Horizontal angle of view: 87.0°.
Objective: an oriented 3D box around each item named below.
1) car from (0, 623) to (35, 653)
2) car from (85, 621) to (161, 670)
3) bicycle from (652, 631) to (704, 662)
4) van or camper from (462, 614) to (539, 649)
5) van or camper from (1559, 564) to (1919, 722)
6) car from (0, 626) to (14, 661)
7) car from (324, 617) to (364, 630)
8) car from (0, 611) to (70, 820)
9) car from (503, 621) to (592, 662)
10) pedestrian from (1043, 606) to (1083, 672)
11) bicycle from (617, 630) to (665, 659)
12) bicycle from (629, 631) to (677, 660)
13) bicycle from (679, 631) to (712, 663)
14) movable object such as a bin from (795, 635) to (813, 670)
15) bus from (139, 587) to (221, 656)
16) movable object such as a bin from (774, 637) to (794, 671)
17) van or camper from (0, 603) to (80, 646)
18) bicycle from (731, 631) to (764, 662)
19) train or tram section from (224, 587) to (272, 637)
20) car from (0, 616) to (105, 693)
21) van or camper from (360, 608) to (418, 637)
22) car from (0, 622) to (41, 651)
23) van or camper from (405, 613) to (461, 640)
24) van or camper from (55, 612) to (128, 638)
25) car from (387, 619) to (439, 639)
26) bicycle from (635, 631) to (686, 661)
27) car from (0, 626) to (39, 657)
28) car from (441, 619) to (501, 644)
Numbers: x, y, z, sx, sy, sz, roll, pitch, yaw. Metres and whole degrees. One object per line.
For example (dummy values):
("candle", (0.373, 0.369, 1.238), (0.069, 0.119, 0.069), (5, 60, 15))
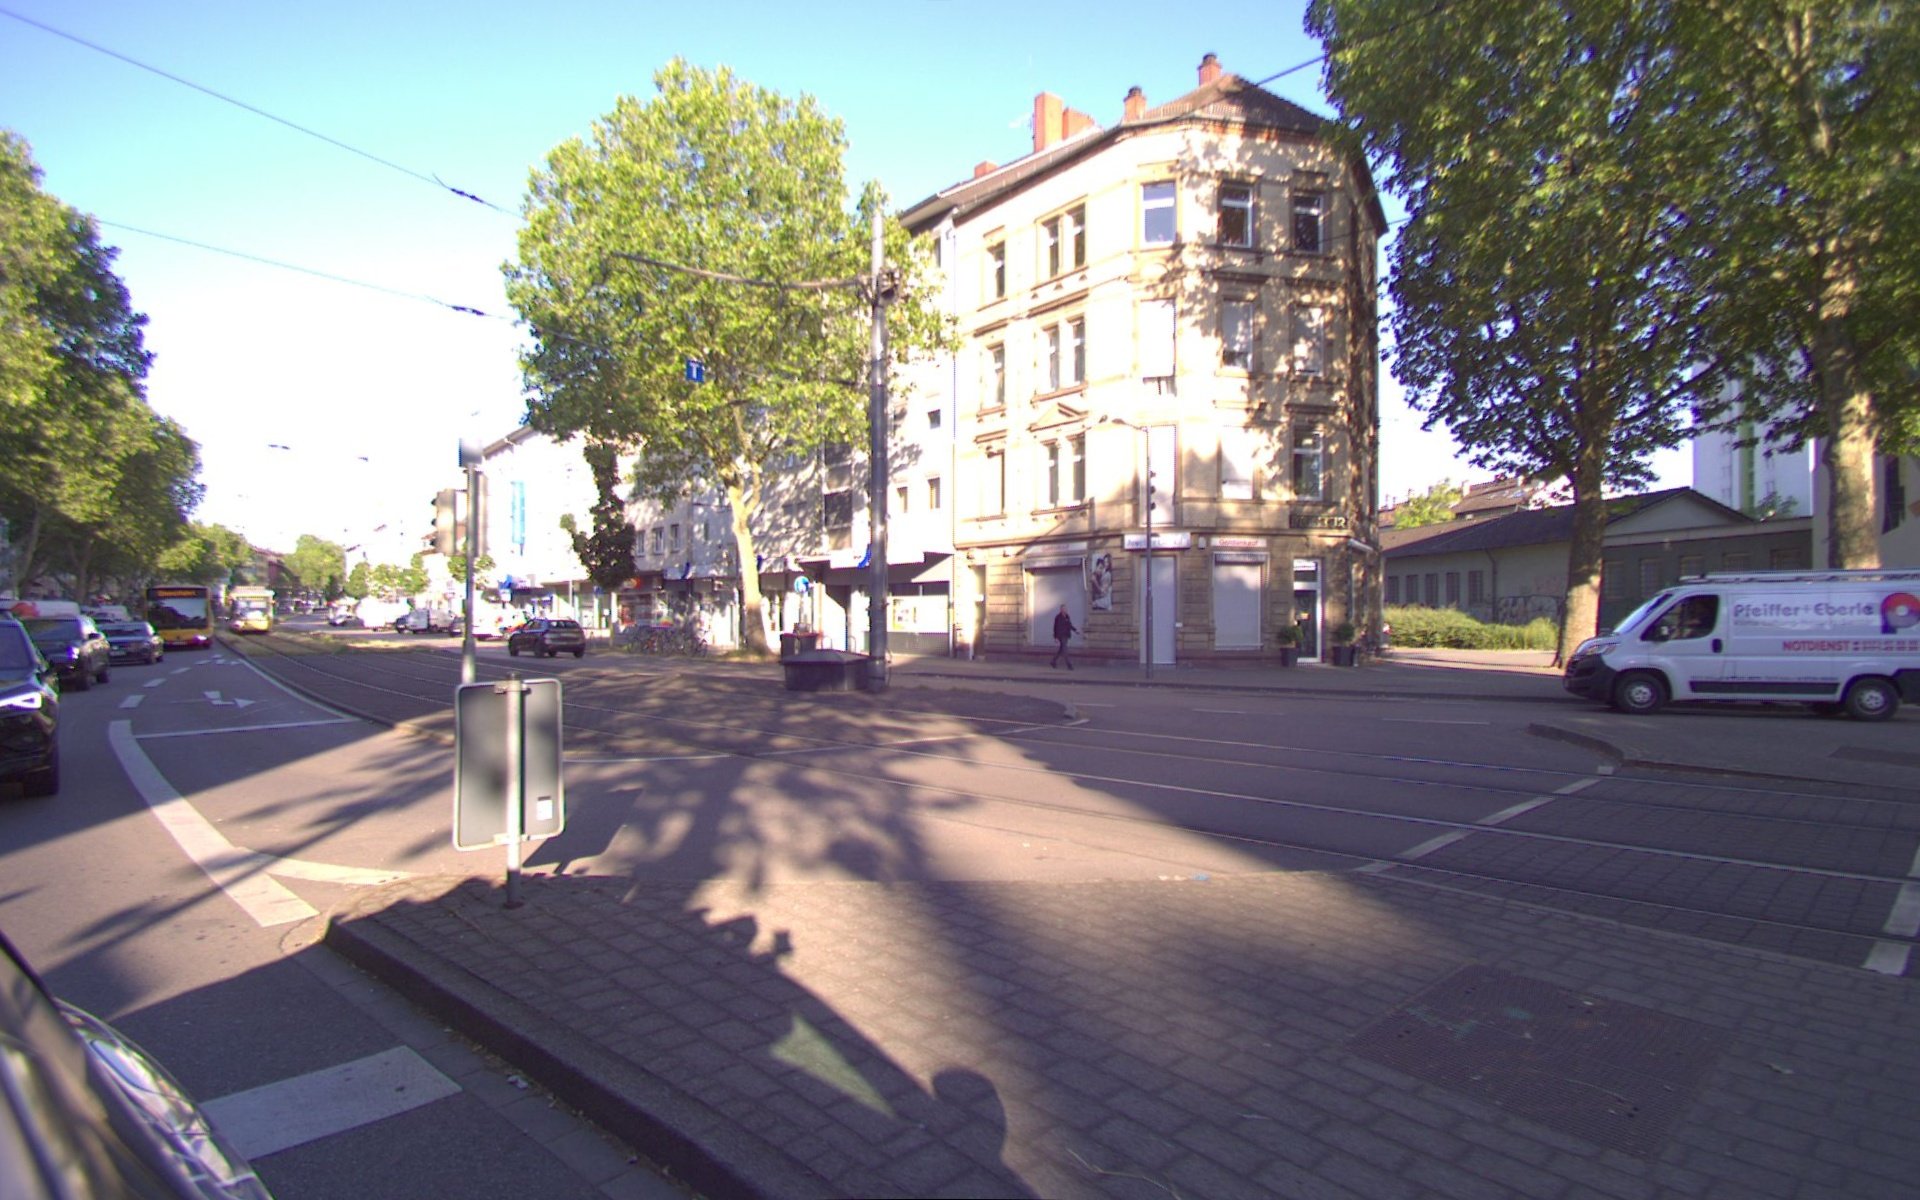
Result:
("car", (-50.610, 1.977, 52.271), (1.643, 1.534, 3.984), (1, -1, 12))
("car", (-28.034, 1.488, 33.996), (1.632, 1.497, 4.171), (0, -1, -35))
("bicycle", (-11.159, 1.838, 40.044), (1.870, 1.133, 0.653), (-1, -1, -40))
("van or camper", (-28.121, 1.896, 62.172), (1.930, 1.912, 4.800), (-2, 0, 10))
("van or camper", (12.994, 0.709, 16.681), (5.073, 2.337, 2.156), (-1, -3, 25))
("car", (-41.826, 1.808, 41.693), (1.641, 1.447, 3.988), (1, -1, 9))
("car", (-76.914, 2.952, 126.312), (1.762, 1.501, 3.877), (-2, 0, 29))
("car", (-9.389, 0.949, 9.233), (1.781, 1.660, 4.007), (0, -1, -40))
("car", (-15.876, 1.551, 38.839), (1.863, 1.484, 4.212), (0, -1, -42))
("pedestrian", (2.877, 1.083, 28.332), (0.610, 1.801, 0.973), (-2, 0, -33))
("bicycle", (-13.524, 1.885, 42.993), (1.870, 1.133, 0.535), (-1, -1, -40))
("bicycle", (-12.735, 1.870, 42.014), (1.870, 1.133, 0.535), (-1, -1, -40))
("bicycle", (-9.914, 1.748, 37.900), (0.501, 1.133, 1.915), (-1, -1, -36))
("movable object such as a bin", (-4.965, 1.680, 32.241), (0.471, 1.102, 0.573), (0, -2, 2))
("bus", (-38.977, 0.925, 50.447), (2.828, 3.001, 12.264), (-2, 1, -39))
("movable object such as a bin", (-5.739, 1.748, 32.979), (0.538, 1.102, 0.647), (0, -2, 2))
("van or camper", (-56.716, 1.463, 60.999), (1.979, 2.488, 5.441), (-1, -1, 12))
("bicycle", (-8.235, 1.774, 39.129), (0.501, 1.133, 1.915), (-1, -1, -36))
("train or tram section", (-53.256, 0.947, 75.853), (2.596, 3.476, 11.159), (-1, 0, -34))
("car", (-20.739, 1.169, 23.018), (1.632, 1.593, 4.010), (0, -1, -35))
("van or camper", (-55.686, 2.155, 98.864), (1.972, 2.687, 6.397), (-2, 0, 0))
("car", (-52.621, 1.973, 54.785), (1.643, 1.575, 3.984), (1, -1, 12))
("van or camper", (-42.863, 2.145, 82.361), (1.779, 2.004, 4.441), (-2, 0, 8))
("van or camper", (-84.925, 2.397, 99.032), (1.978, 2.488, 5.446), (0, -1, 10))
("car", (-47.326, 2.497, 87.648), (1.858, 1.598, 3.989), (-2, 0, 9))
("bicycle", (-12.235, 1.863, 41.384), (1.870, 1.133, 0.653), (-1, -1, -40))
("car", (-46.055, 1.948, 47.456), (1.643, 1.447, 3.984), (1, -1, 12))
("car", (-34.532, 2.202, 71.548), (1.748, 1.501, 4.444), (-2, 0, 5))
